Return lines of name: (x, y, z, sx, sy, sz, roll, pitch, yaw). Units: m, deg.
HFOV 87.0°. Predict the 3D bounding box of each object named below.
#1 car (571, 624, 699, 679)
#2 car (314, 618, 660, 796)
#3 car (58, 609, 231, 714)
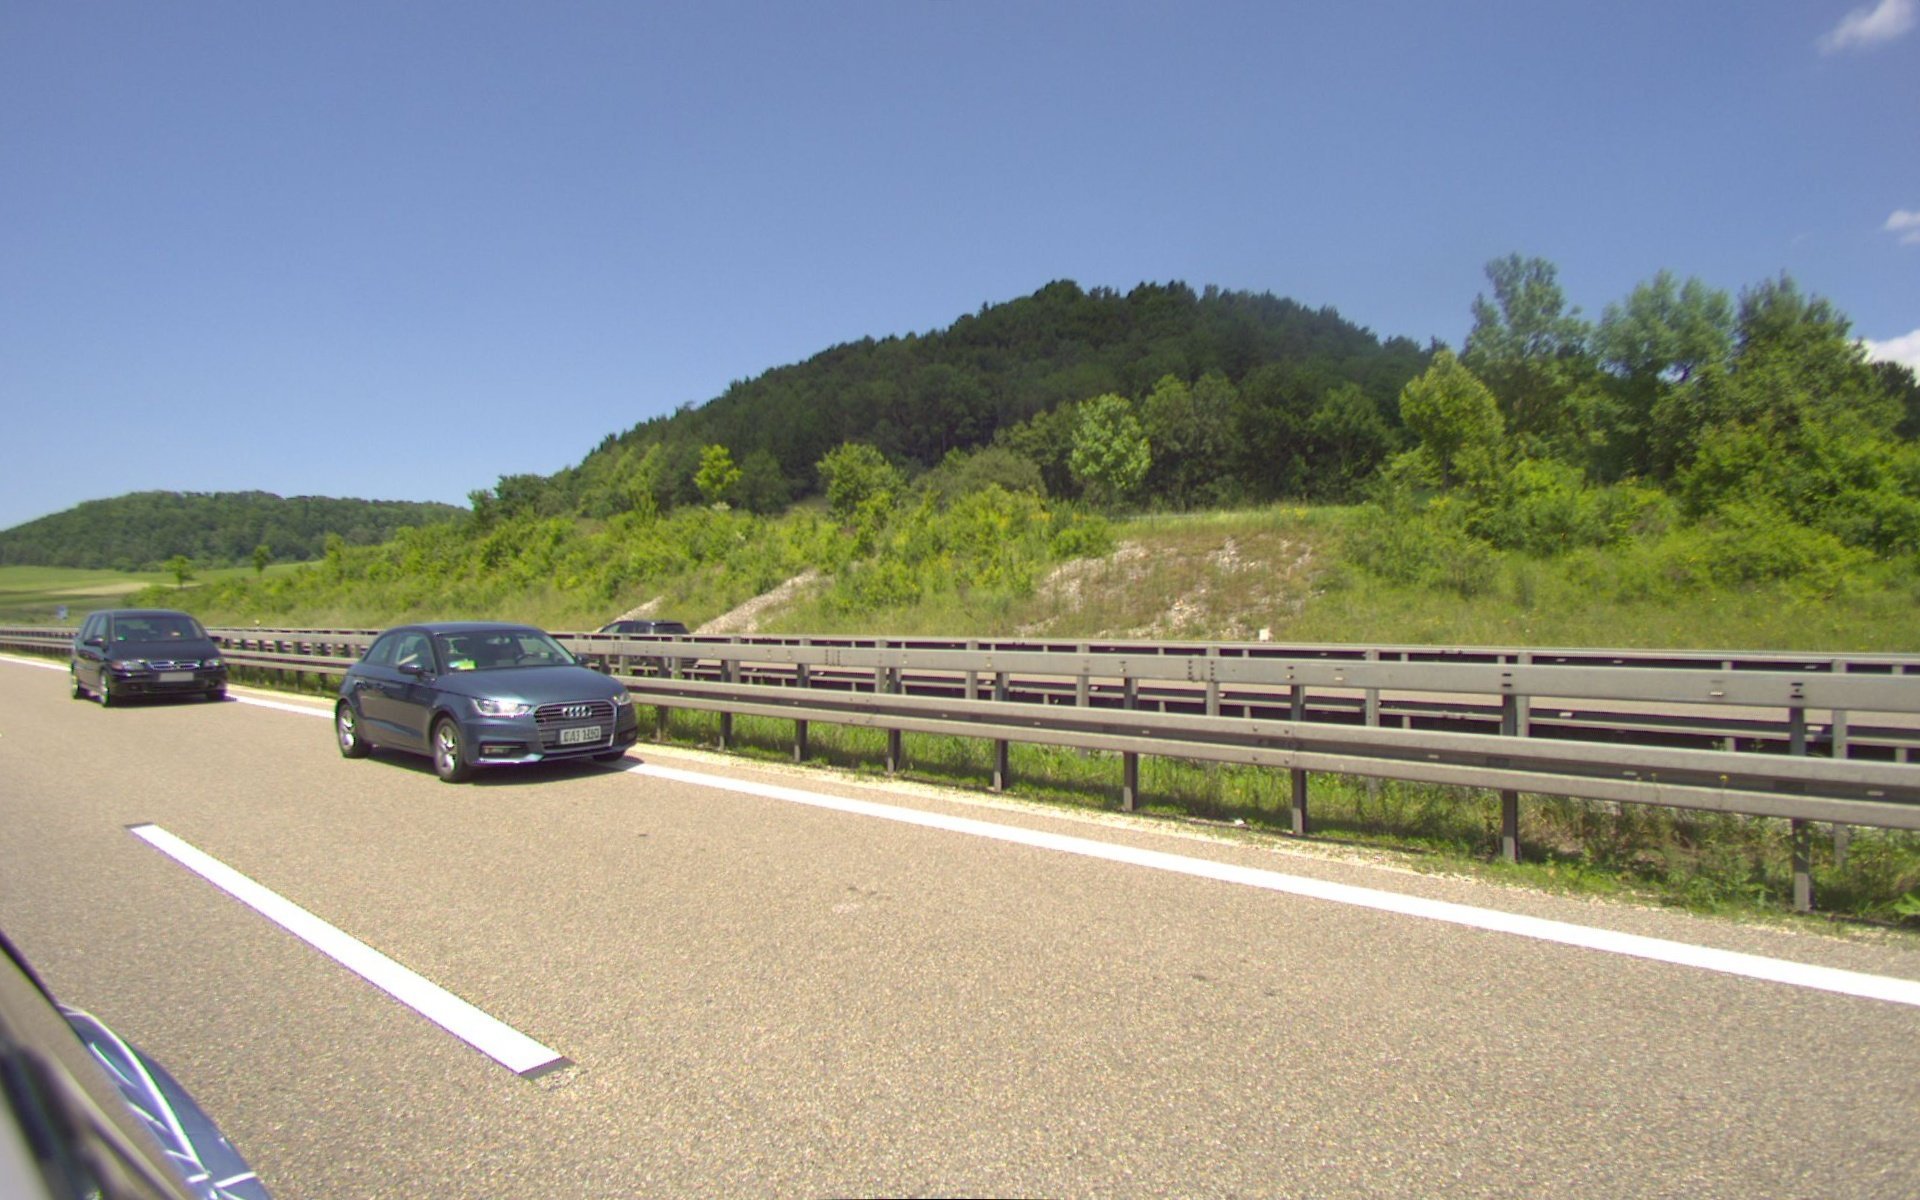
car: (-8.949, 1.368, 27.738, 3.739, 1.379, 1.673, -1, -1, 41)
car: (-4.789, 0.894, 9.990, 3.999, 1.399, 1.671, -1, -1, 42)
car: (-14.611, 1.002, 18.043, 4.446, 1.647, 1.781, -1, -1, 43)
